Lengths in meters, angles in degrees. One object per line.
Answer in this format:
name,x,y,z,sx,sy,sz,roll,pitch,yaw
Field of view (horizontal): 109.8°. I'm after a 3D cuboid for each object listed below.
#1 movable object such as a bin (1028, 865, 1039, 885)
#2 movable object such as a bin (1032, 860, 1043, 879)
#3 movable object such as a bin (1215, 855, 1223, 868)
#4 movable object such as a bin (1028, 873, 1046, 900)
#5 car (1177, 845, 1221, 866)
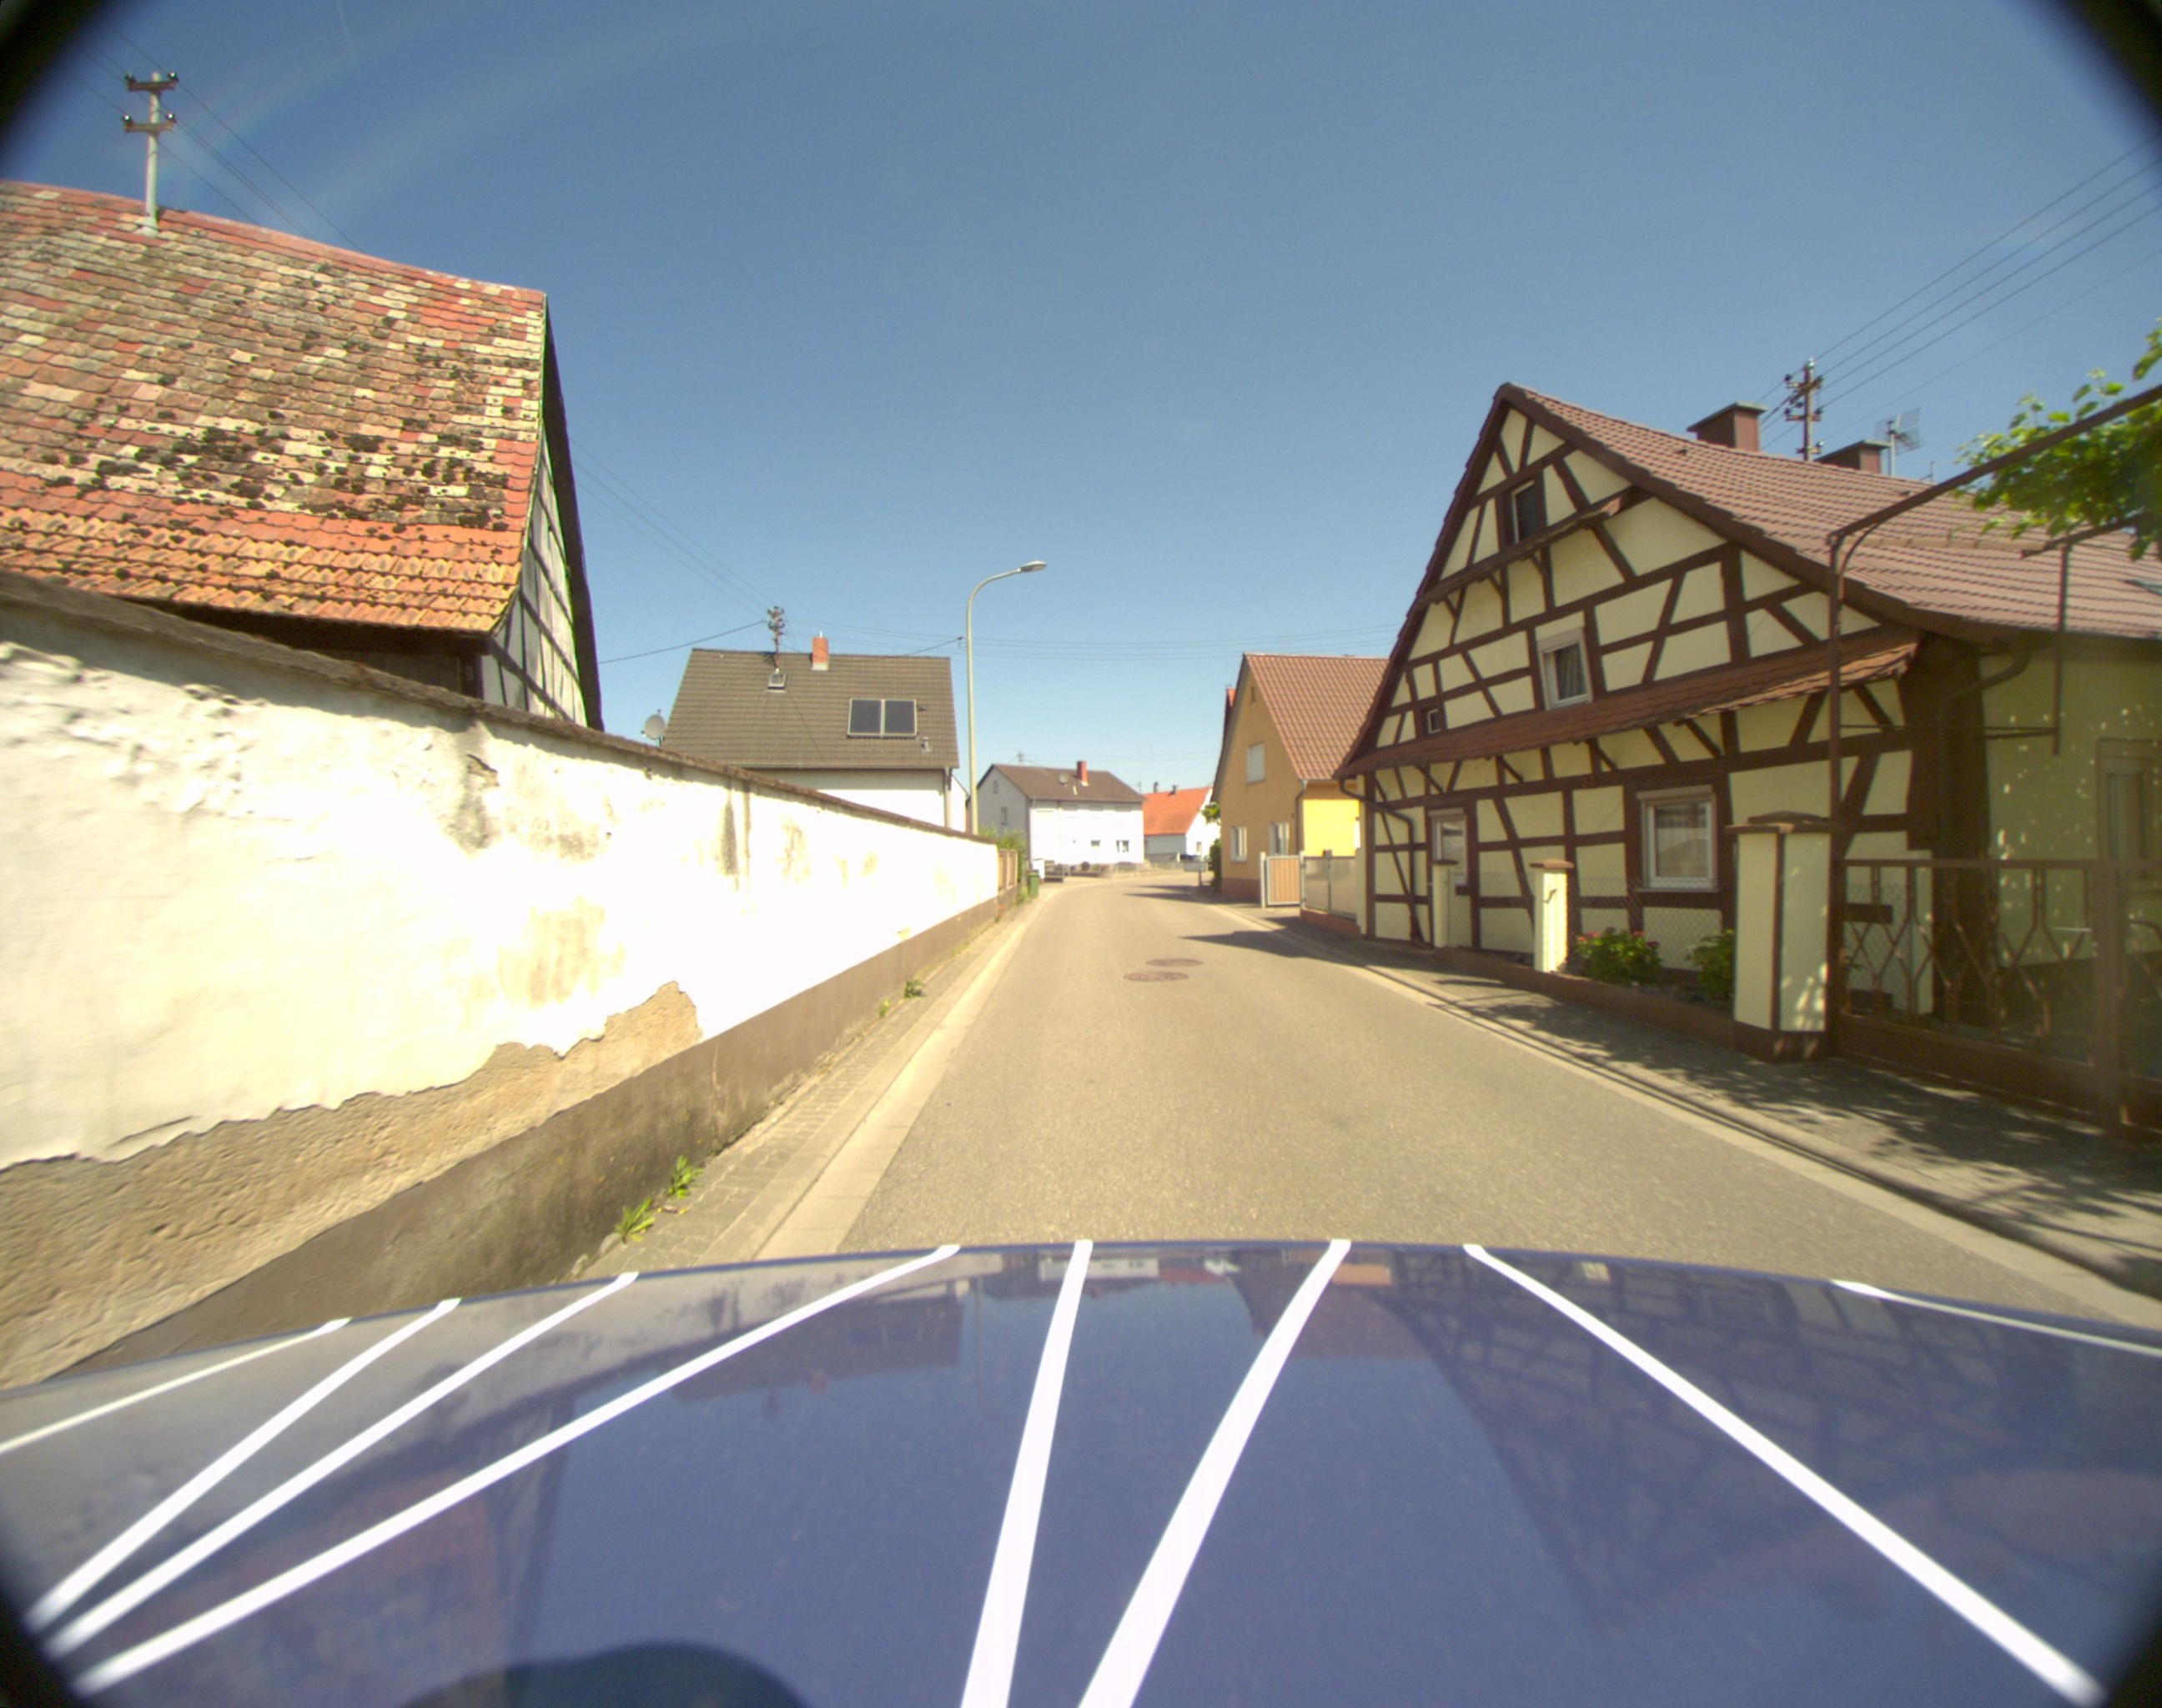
movable object such as a bin,-2.441,1.088,38.976,0.505,0.971,0.433,-3,1,0
movable object such as a bin,-2.315,0.811,40.104,0.505,0.971,0.494,-3,1,0
movable object such as a bin,12.387,0.636,68.278,0.570,1.136,0.433,-2,1,0
movable object such as a bin,-1.656,1.200,28.537,0.552,0.971,0.432,-2,1,-25
car,11.143,0.166,72.065,1.705,1.834,3.989,-2,1,-40
